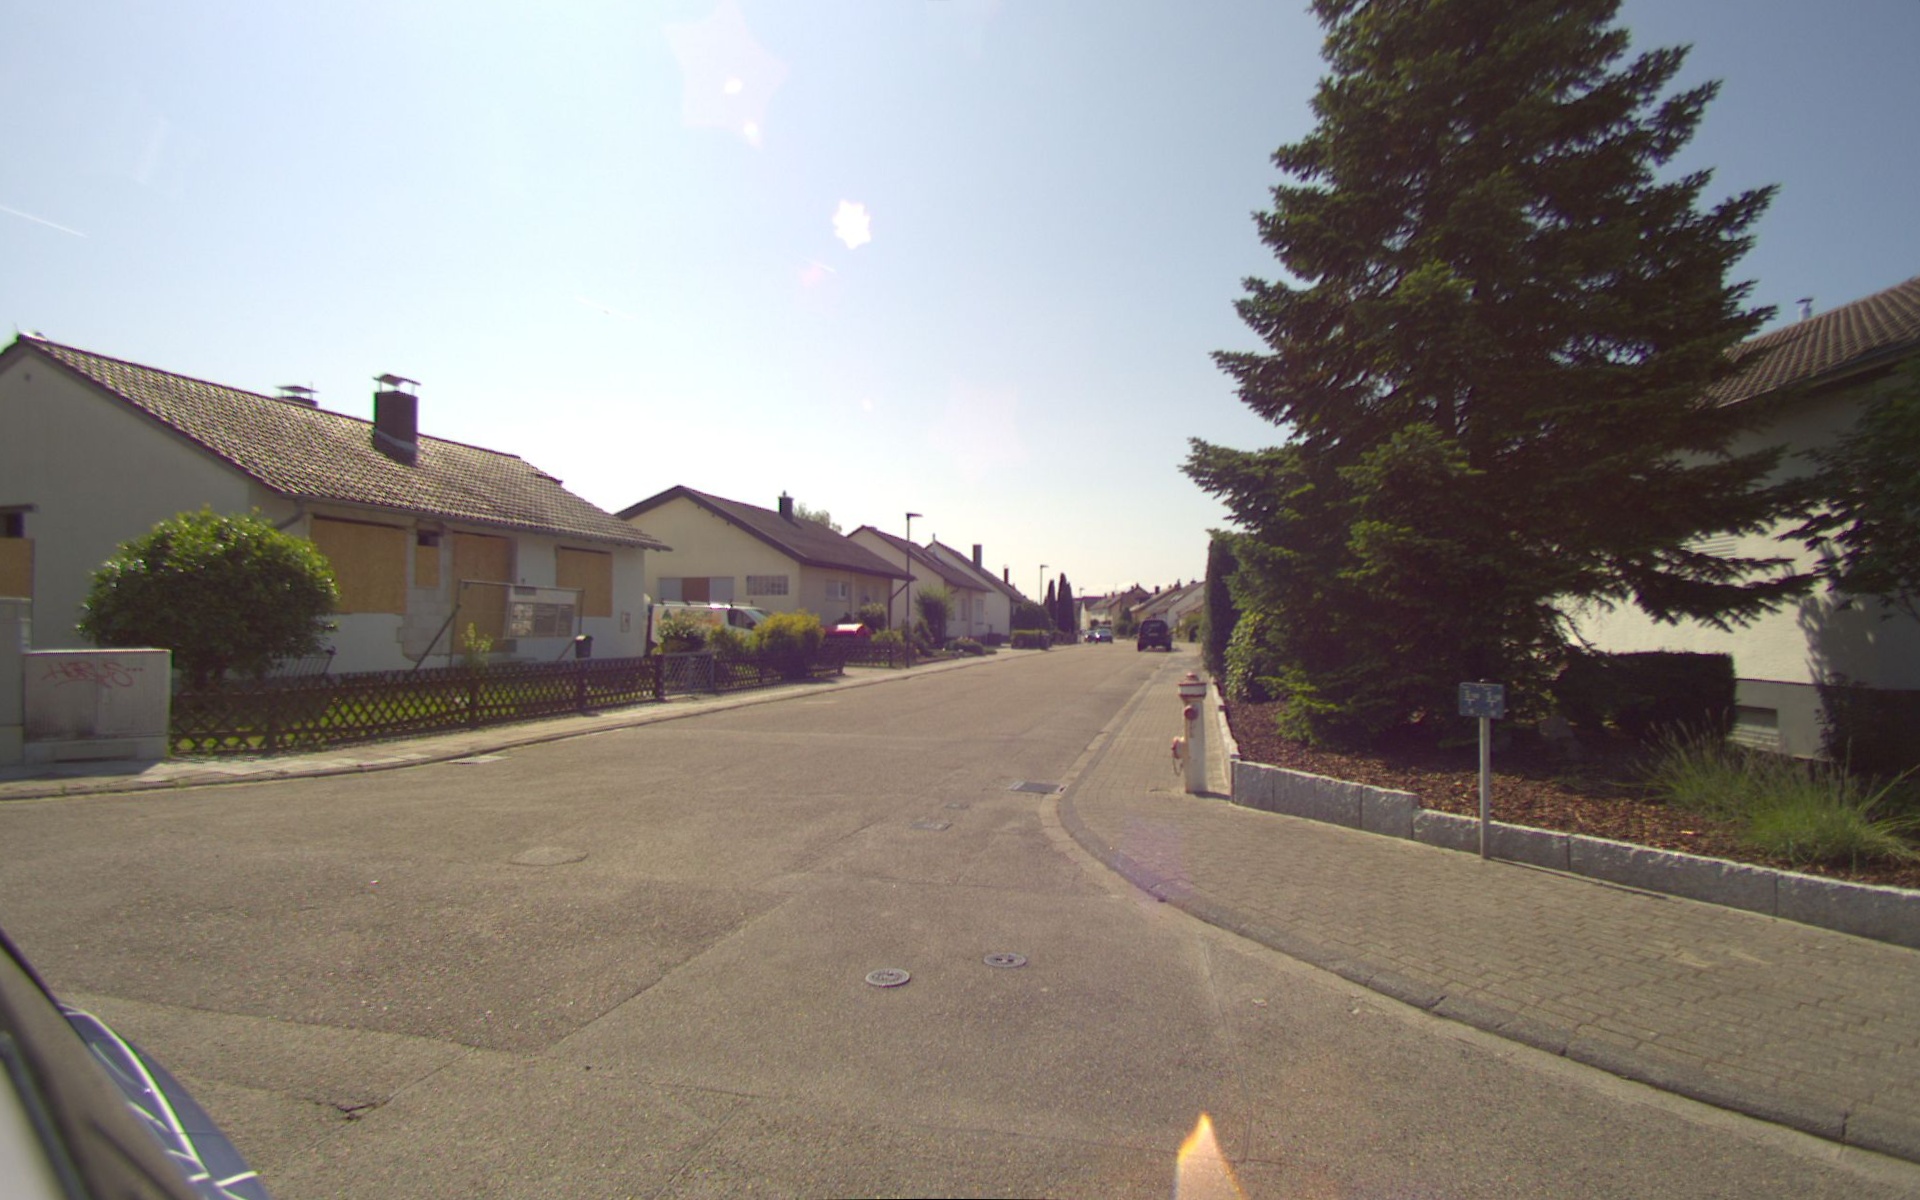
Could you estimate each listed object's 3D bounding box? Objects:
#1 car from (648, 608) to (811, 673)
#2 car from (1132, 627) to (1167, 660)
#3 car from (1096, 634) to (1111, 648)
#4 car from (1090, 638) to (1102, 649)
[{"bbox_3d":[-7.584,1.302,33.369,4.967,2.029,1.858,0,-2,16],"label":"car"},{"bbox_3d":[10.687,2.437,56.890,1.753,1.791,3.636,-1,-2,13],"label":"car"},{"bbox_3d":[14.447,4.143,102.019,1.443,1.287,3.096,0,-1,8],"label":"car"},{"bbox_3d":[16.732,5.361,124.595,1.443,1.287,3.095,0,-1,9],"label":"car"}]
